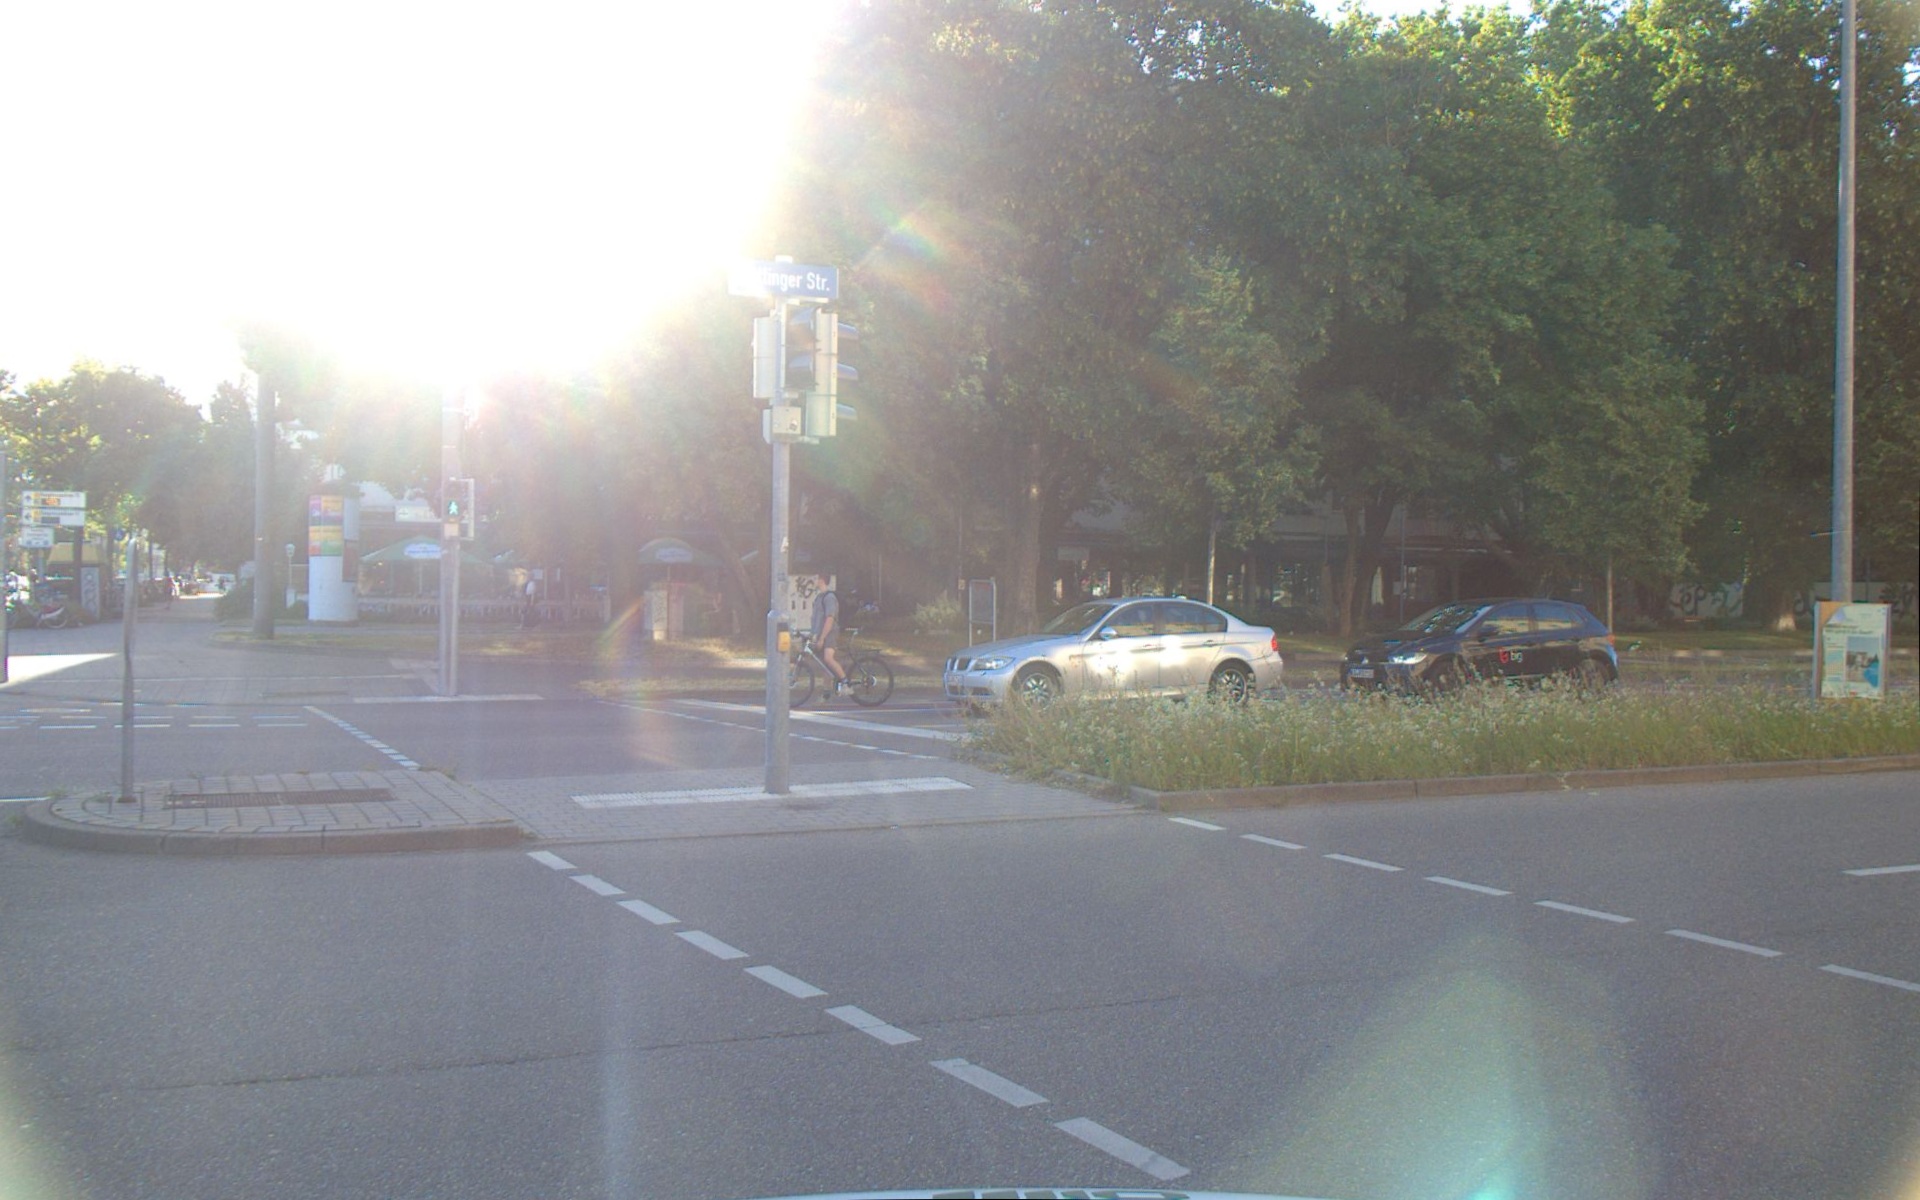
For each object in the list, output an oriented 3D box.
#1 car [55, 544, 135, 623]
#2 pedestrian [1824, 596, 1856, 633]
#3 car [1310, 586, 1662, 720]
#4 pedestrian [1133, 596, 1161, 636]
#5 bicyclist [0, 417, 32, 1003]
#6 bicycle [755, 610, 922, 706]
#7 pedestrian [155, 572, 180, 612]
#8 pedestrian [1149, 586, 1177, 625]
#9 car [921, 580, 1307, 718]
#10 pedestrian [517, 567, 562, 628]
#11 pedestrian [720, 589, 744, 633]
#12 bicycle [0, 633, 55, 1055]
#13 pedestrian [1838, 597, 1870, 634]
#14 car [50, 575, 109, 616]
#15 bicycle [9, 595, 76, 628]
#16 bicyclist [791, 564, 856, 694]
[{"bbox_3d":[-34.259,-0.650,65.642,2.559,3.004,5.048,0,0,-25],"label":"car"},{"bbox_3d":[38.020,0.630,71.437,0.882,1.567,0.896,0,0,-30],"label":"pedestrian"},{"bbox_3d":[7.289,0.680,22.919,4.473,1.705,1.986,0,0,-23],"label":"car"},{"bbox_3d":[6.494,0.553,57.513,0.653,1.363,0.903,0,0,-20],"label":"pedestrian"},{"bbox_3d":[-3.218,0.351,4.820,0.742,1.774,0.833,2,-1,-23],"label":"bicyclist"},{"bbox_3d":[-1.653,0.761,22.309,2.200,1.261,0.776,0,0,-9],"label":"bicycle"},{"bbox_3d":[-35.447,-0.366,73.996,0.778,1.771,0.881,0,0,-42],"label":"pedestrian"},{"bbox_3d":[7.084,0.178,57.744,0.703,1.363,0.824,0,0,-20],"label":"pedestrian"},{"bbox_3d":[1.939,0.610,20.920,4.473,1.588,1.985,0,-2,-23],"label":"car"},{"bbox_3d":[-12.353,-0.073,48.597,1.188,1.771,0.893,0,0,-8],"label":"pedestrian"},{"bbox_3d":[-7.051,0.329,51.167,0.588,1.363,0.729,0,0,-20],"label":"pedestrian"},{"bbox_3d":[-3.263,0.746,4.906,0.765,1.261,2.007,2,-1,-23],"label":"bicycle"},{"bbox_3d":[38.865,0.663,71.889,0.882,1.567,0.896,0,0,-30],"label":"pedestrian"},{"bbox_3d":[-31.825,-0.165,59.839,1.676,1.453,3.968,0,0,-25],"label":"car"},{"bbox_3d":[-25.245,0.318,45.522,1.585,0.904,0.762,0,0,-32],"label":"bicycle"},{"bbox_3d":[-1.848,0.387,22.281,0.820,1.708,0.782,0,-1,-9],"label":"bicyclist"}]
